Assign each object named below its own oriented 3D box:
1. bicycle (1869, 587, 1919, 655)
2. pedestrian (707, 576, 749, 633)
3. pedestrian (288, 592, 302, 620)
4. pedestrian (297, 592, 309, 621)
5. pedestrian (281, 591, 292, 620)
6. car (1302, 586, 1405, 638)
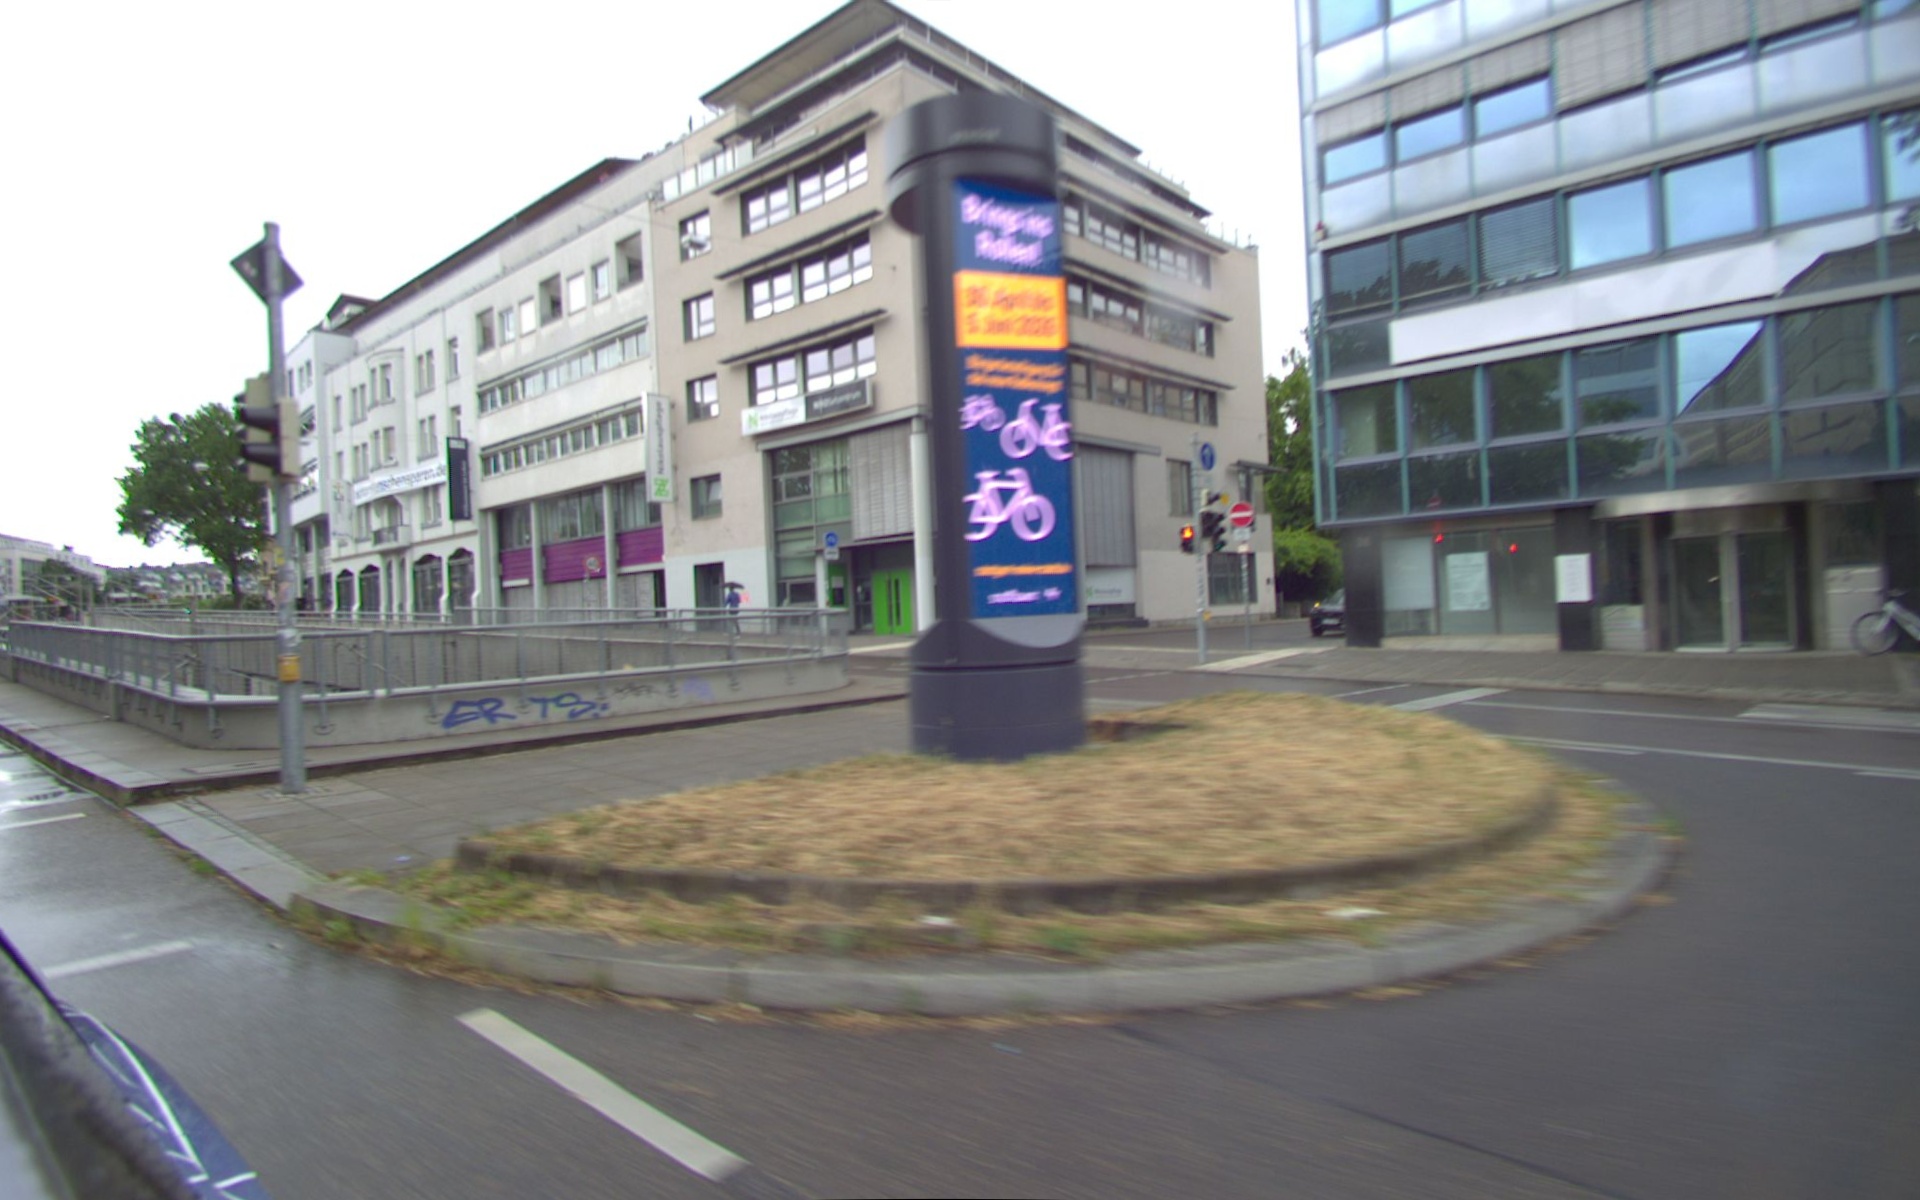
[{"bbox_3d":[15.934,0.340,16.535,0.441,1.093,1.566,-1,0,-45],"label":"bicycle"},{"bbox_3d":[-7.760,0.149,33.858,1.059,1.852,0.849,-1,1,41],"label":"pedestrian"},{"bbox_3d":[-43.384,0.375,66.033,0.469,1.816,0.541,-1,1,33],"label":"pedestrian"},{"bbox_3d":[-42.365,0.403,65.286,0.547,1.816,0.463,-1,2,43],"label":"pedestrian"},{"bbox_3d":[-43.598,0.347,65.468,0.463,1.816,0.548,-3,2,-42],"label":"pedestrian"},{"bbox_3d":[12.830,0.368,32.916,1.998,1.569,3.948,-1,0,39],"label":"car"}]
